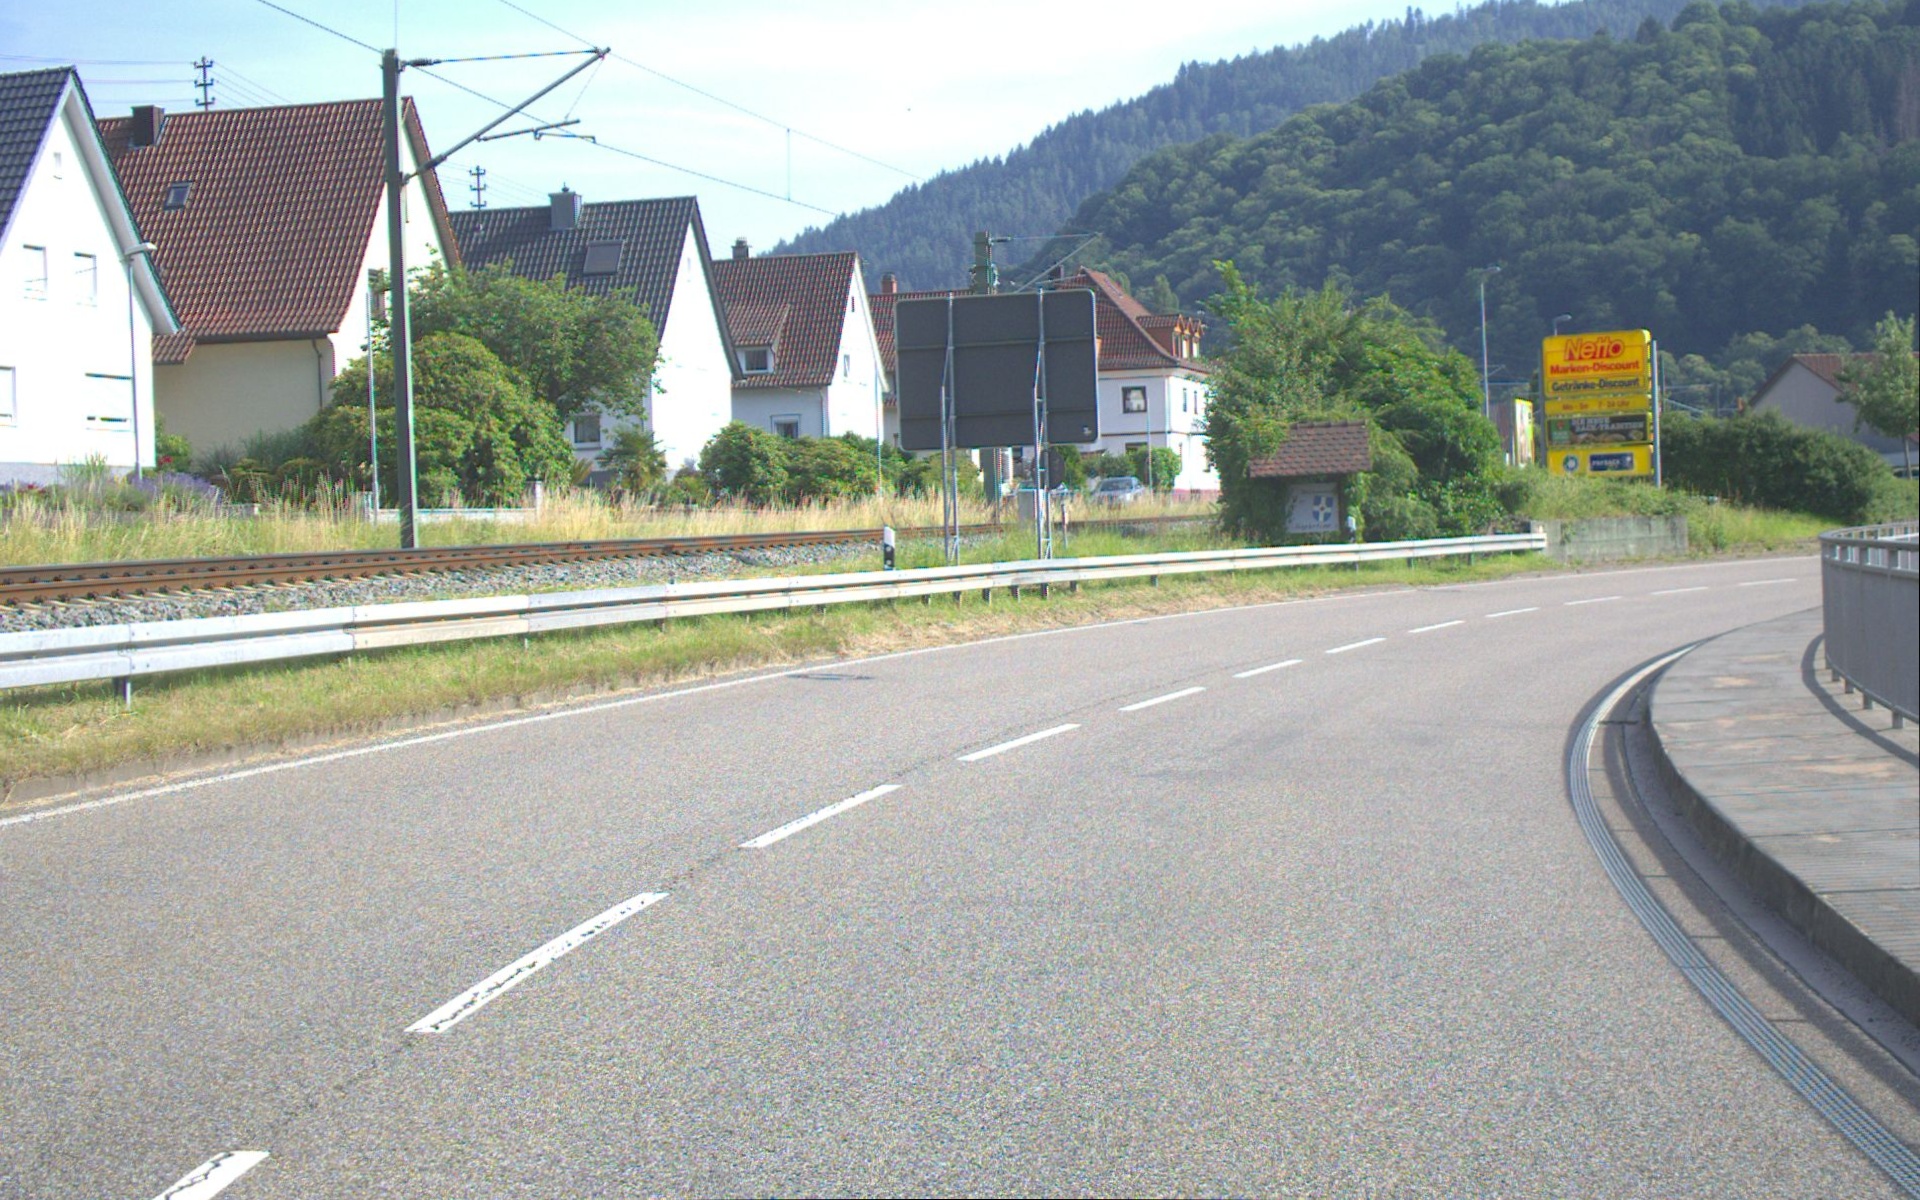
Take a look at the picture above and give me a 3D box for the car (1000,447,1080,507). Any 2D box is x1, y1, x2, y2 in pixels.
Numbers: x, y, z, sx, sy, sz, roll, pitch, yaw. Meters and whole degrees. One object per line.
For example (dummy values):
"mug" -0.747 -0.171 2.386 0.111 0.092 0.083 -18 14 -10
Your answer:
"car" 2.848 -4.326 121.177 1.995 1.875 3.998 6 2 11

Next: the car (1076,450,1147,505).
"car" 5.945 -4.778 134.518 1.995 1.875 3.998 6 2 11
